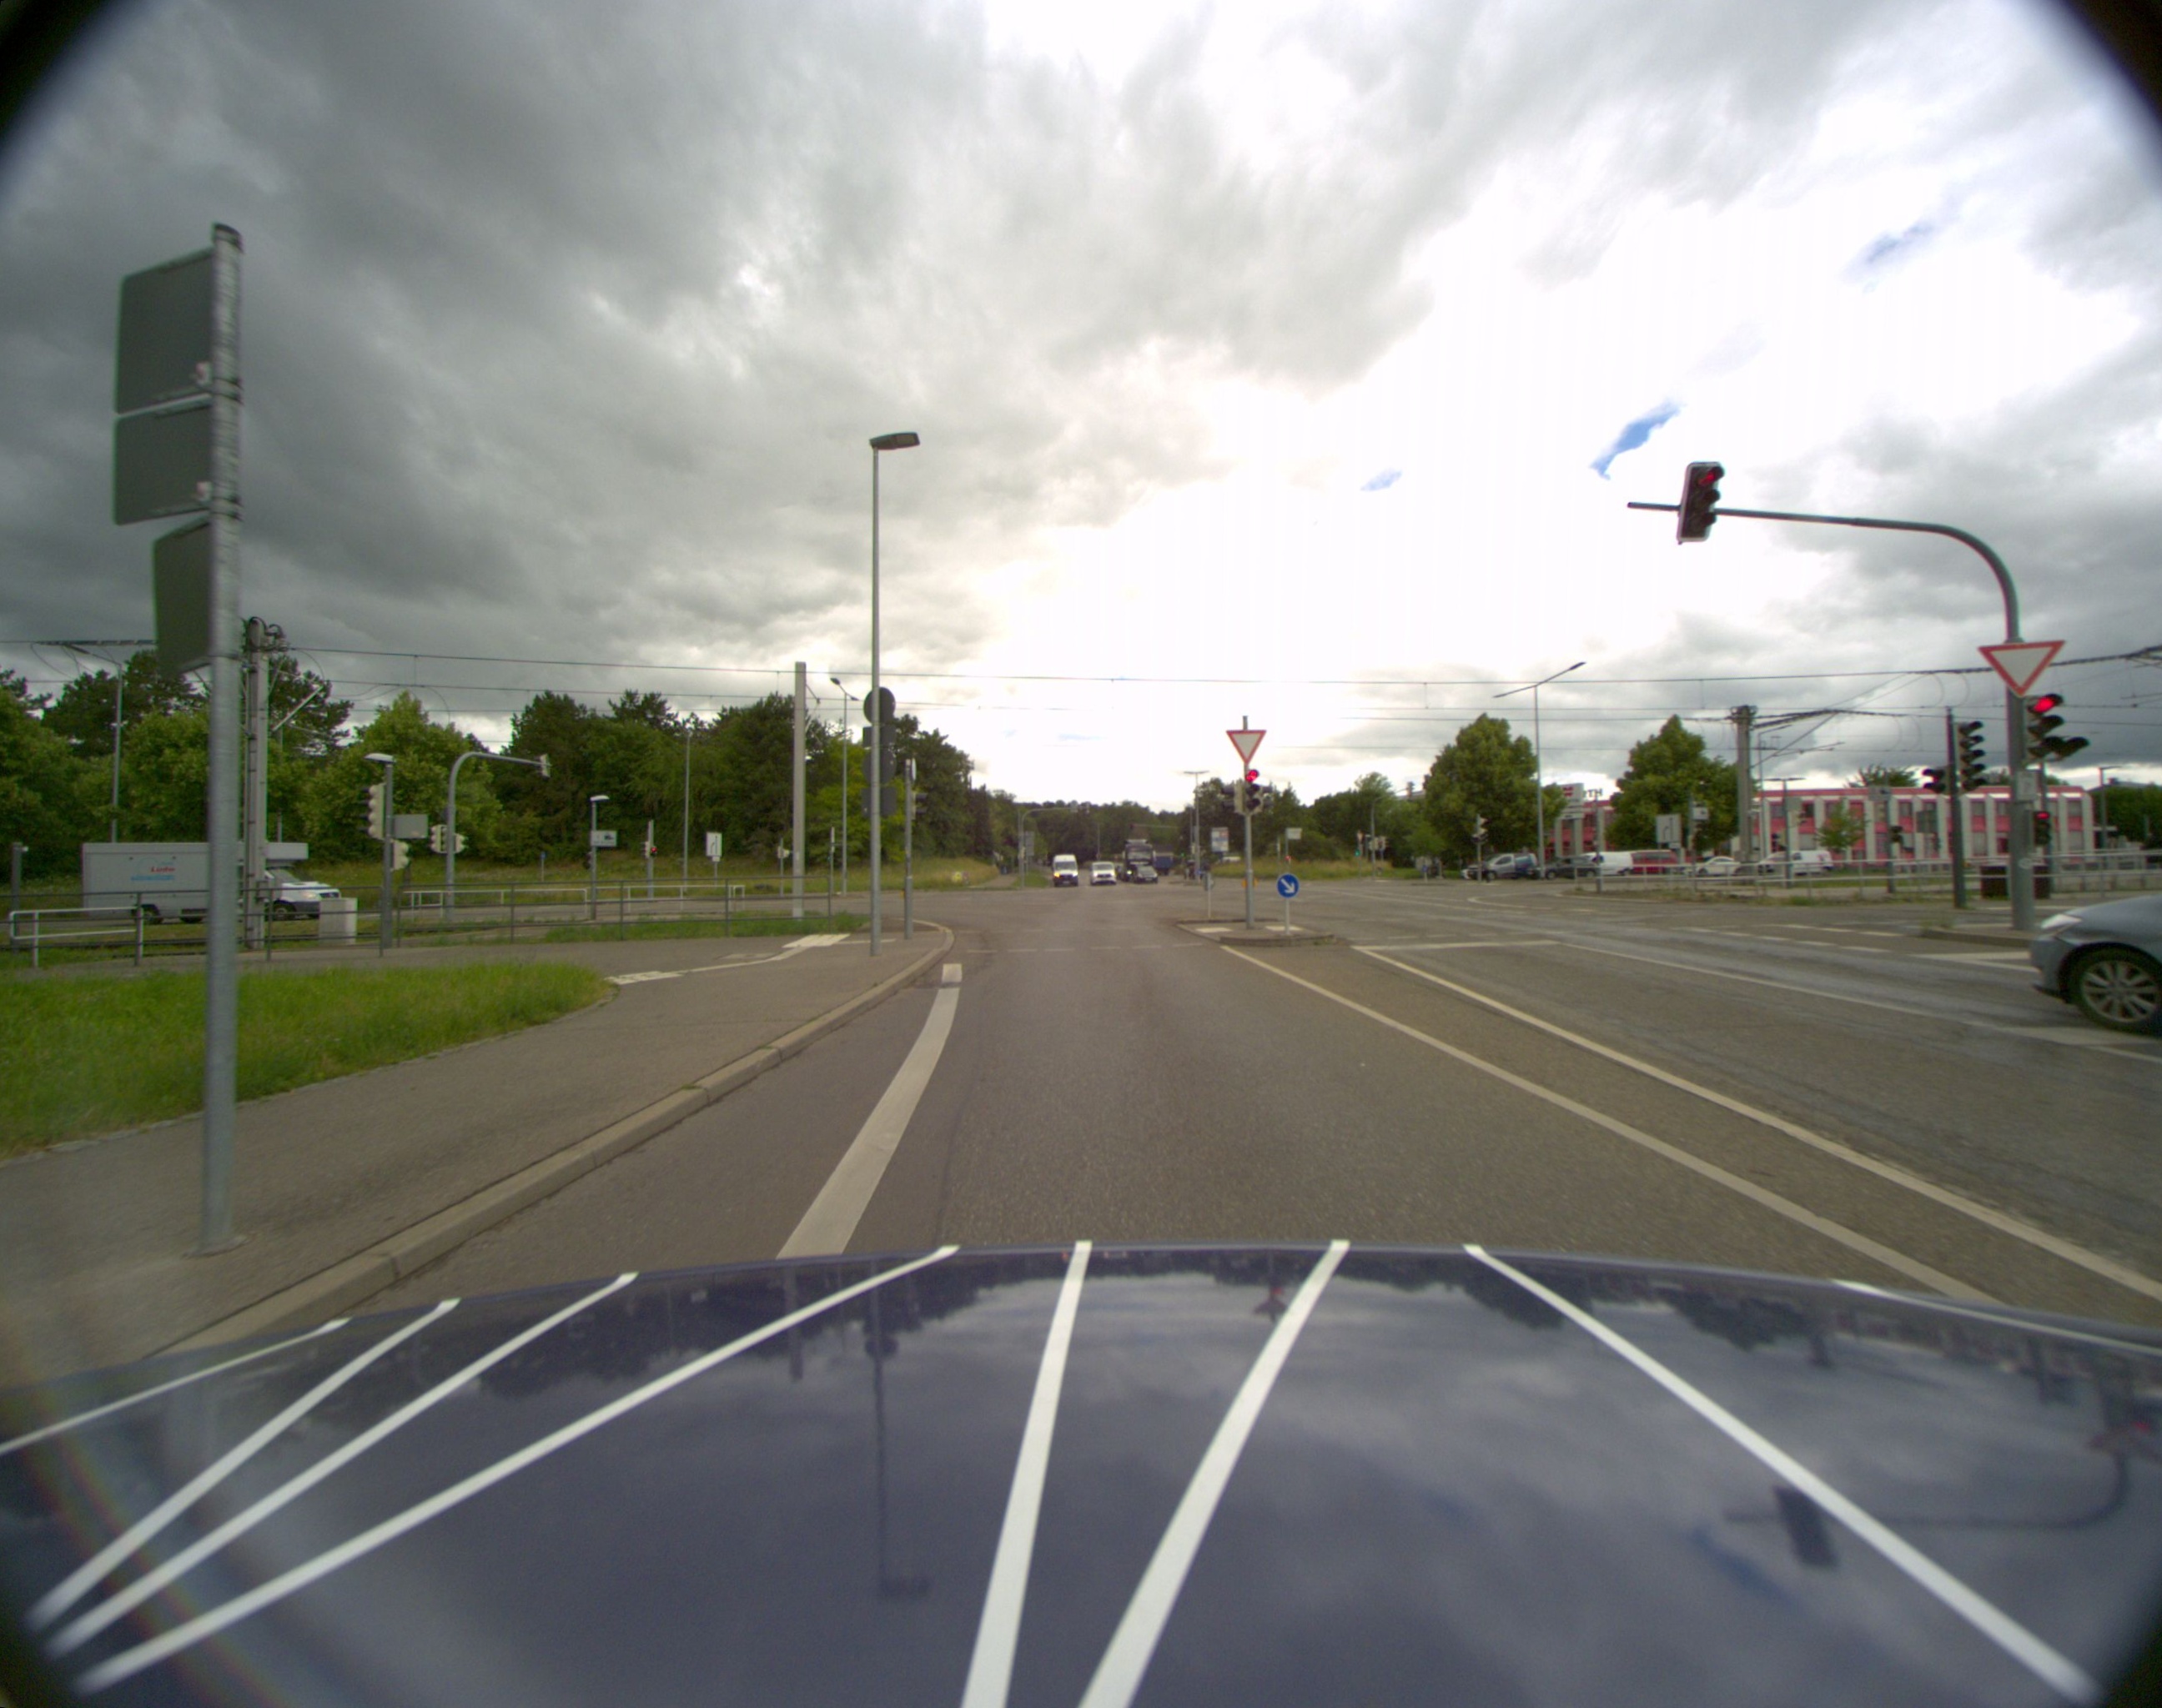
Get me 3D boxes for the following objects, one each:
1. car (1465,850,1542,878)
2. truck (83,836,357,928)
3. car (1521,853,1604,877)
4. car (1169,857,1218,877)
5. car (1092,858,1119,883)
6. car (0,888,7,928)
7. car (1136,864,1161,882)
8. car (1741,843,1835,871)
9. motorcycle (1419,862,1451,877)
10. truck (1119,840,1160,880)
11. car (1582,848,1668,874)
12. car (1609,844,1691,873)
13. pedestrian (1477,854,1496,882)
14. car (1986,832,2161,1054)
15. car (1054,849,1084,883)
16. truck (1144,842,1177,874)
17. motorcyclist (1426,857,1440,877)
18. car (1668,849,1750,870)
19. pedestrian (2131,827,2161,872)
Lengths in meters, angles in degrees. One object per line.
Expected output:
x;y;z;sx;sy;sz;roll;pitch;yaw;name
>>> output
28.489;0.673;51.279;4.220;1.769;1.814;-1;0;-2;car
-30.945;0.919;27.625;6.277;2.994;2.107;-1;3;-16;truck
30.747;0.690;48.593;4.220;1.333;1.814;2;0;-4;car
10.846;1.296;73.545;2.003;1.865;4.879;-1;-1;-33;car
2.026;1.373;64.818;2.119;1.979;4.988;-3;0;1;car
-39.364;1.935;25.138;4.003;1.390;1.997;-1;0;-18;car
5.597;1.593;63.684;1.635;1.433;3.866;-1;0;-2;car
52.508;0.238;56.484;5.234;1.894;1.951;-1;0;-1;car
26.597;1.152;57.092;2.064;1.083;0.761;-2;-2;30;motorcycle
5.434;0.610;71.602;3.073;3.497;5.959;-2;0;-3;truck
37.511;0.475;52.482;4.693;1.781;1.815;0;0;-1;car
41.649;0.317;55.678;4.453;1.894;2.184;2;0;-6;car
22.595;0.759;42.330;0.670;1.521;0.716;-1;0;0;pedestrian
8.237;0.598;4.114;1.831;1.527;4.221;-1;0;4;car
-1.080;1.013;64.404;2.227;2.643;5.959;-2;0;-3;car
9.998;0.521;96.217;2.786;3.781;8.387;-1;-1;-3;truck
26.479;0.984;57.168;0.815;1.413;0.761;-1;-1;30;motorcyclist
43.438;0.390;52.610;4.220;1.333;1.814;2;0;-2;car
37.854;-0.165;26.878;0.545;1.563;0.564;-3;0;-5;pedestrian
